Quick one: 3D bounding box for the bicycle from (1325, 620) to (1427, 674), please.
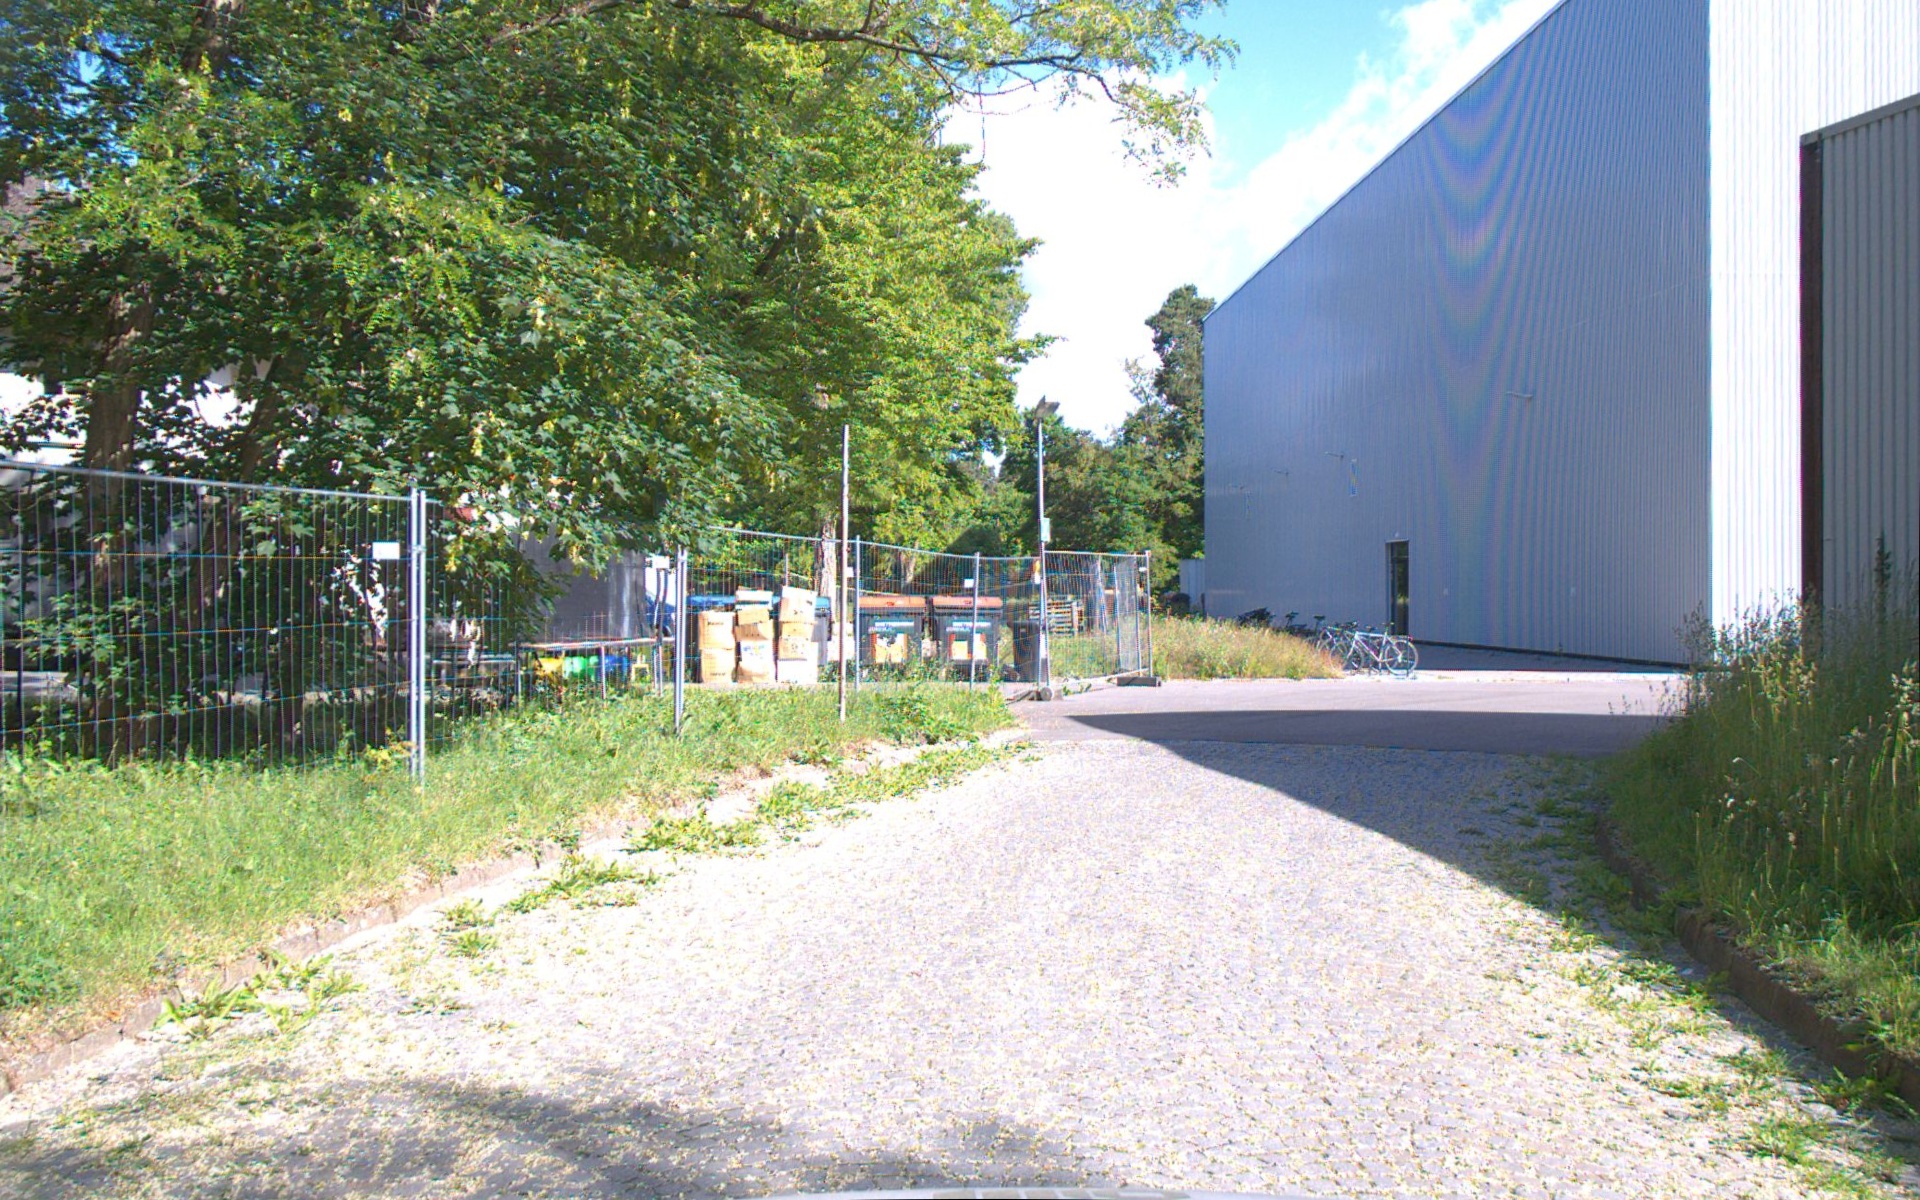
[{"bbox_3d":[7.955,0.897,31.646,1.846,0.995,0.433,-1,0,-4],"label":"bicycle"}]

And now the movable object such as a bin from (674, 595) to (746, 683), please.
[{"bbox_3d":[-4.263,0.648,28.246,1.062,1.463,1.056,-1,0,-1],"label":"movable object such as a bin"}]

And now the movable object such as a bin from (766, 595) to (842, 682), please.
[{"bbox_3d":[-2.666,0.651,28.334,1.262,1.451,1.031,-1,0,-6],"label":"movable object such as a bin"}]

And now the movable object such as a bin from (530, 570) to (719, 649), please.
[{"bbox_3d":[-8.998,0.247,44.696,4.777,2.005,1.930,-1,0,-6],"label":"movable object such as a bin"}]

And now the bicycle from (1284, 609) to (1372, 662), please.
[{"bbox_3d":[8.165,0.785,36.723,1.846,1.145,0.433,-1,0,-4],"label":"bicycle"}]

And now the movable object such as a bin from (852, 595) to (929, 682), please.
[{"bbox_3d":[-1.206,0.654,28.420,1.262,1.451,1.031,-1,0,-6],"label":"movable object such as a bin"}]

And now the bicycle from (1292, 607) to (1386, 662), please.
[{"bbox_3d":[7.805,0.704,34.086,1.846,1.101,0.433,-1,0,-4],"label":"bicycle"}]

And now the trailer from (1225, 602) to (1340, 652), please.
[{"bbox_3d":[8.248,0.678,42.409,2.657,1.221,1.245,-1,0,-4],"label":"trailer"}]

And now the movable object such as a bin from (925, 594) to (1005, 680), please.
[{"bbox_3d":[0.070,0.625,28.561,1.263,1.451,1.031,-1,0,-7],"label":"movable object such as a bin"}]

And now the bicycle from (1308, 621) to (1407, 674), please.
[{"bbox_3d":[7.878,0.939,32.807,1.846,0.995,0.433,-1,0,-4],"label":"bicycle"}]

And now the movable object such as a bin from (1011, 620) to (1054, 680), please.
[{"bbox_3d":[1.245,0.855,28.438,0.627,1.025,0.605,-1,0,12],"label":"movable object such as a bin"}]

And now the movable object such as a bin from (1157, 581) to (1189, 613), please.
[{"bbox_3d":[11.390,-0.172,88.485,1.335,1.685,2.842,-1,0,-1],"label":"movable object such as a bin"}]
